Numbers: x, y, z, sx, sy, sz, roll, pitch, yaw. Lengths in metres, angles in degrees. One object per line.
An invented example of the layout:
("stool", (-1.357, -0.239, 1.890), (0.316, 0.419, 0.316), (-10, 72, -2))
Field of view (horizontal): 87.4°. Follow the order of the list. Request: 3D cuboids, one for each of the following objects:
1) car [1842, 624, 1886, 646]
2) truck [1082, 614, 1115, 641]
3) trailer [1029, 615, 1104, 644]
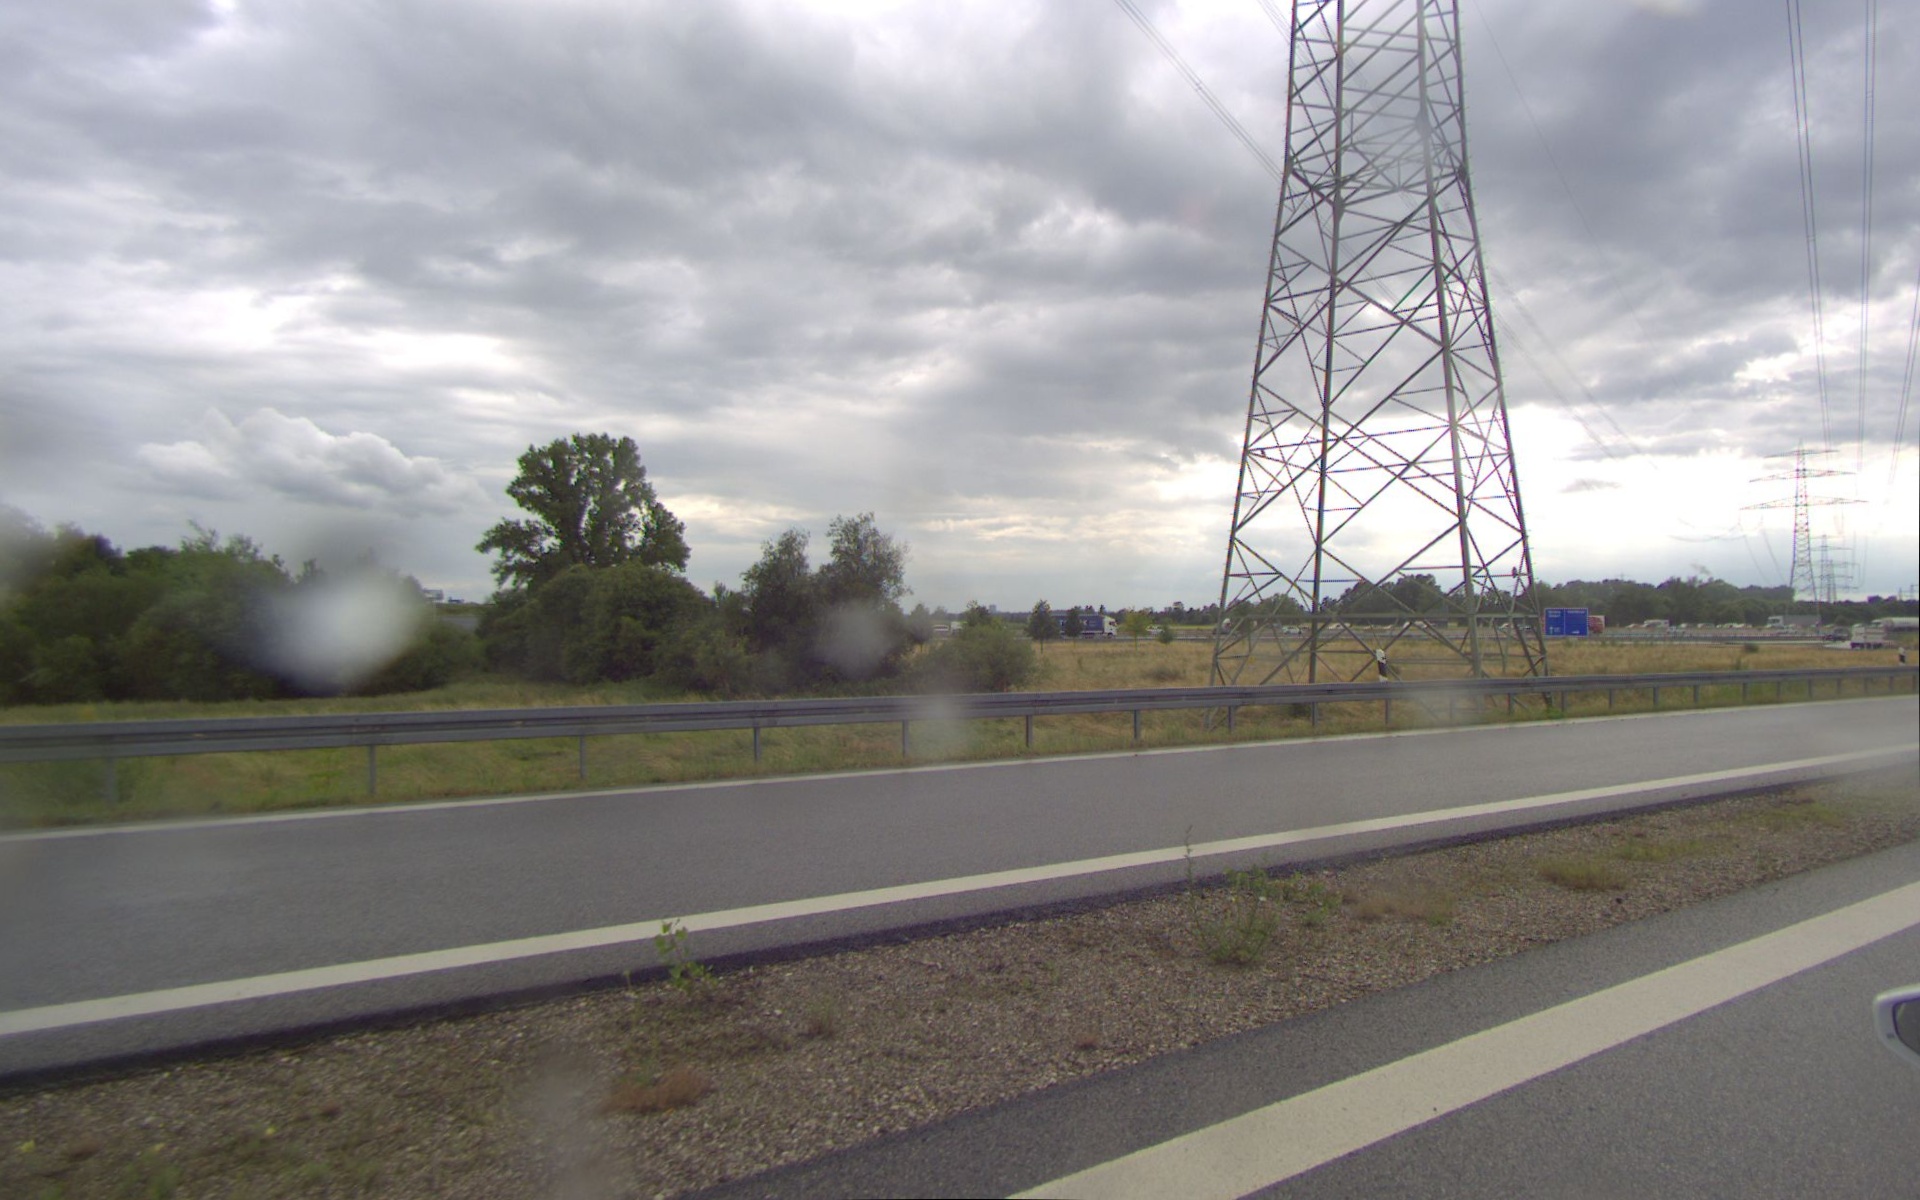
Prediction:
("car", (149.997, 5.760, 166.796), (3.332, 3.658, 9.032), (0, -2, 28))
("truck", (24.847, 4.876, 179.951), (4.993, 4.539, 3.065), (-1, 0, -19))
("trailer", (18.928, 5.175, 177.781), (13.096, 4.698, 3.044), (-1, 0, -20))
